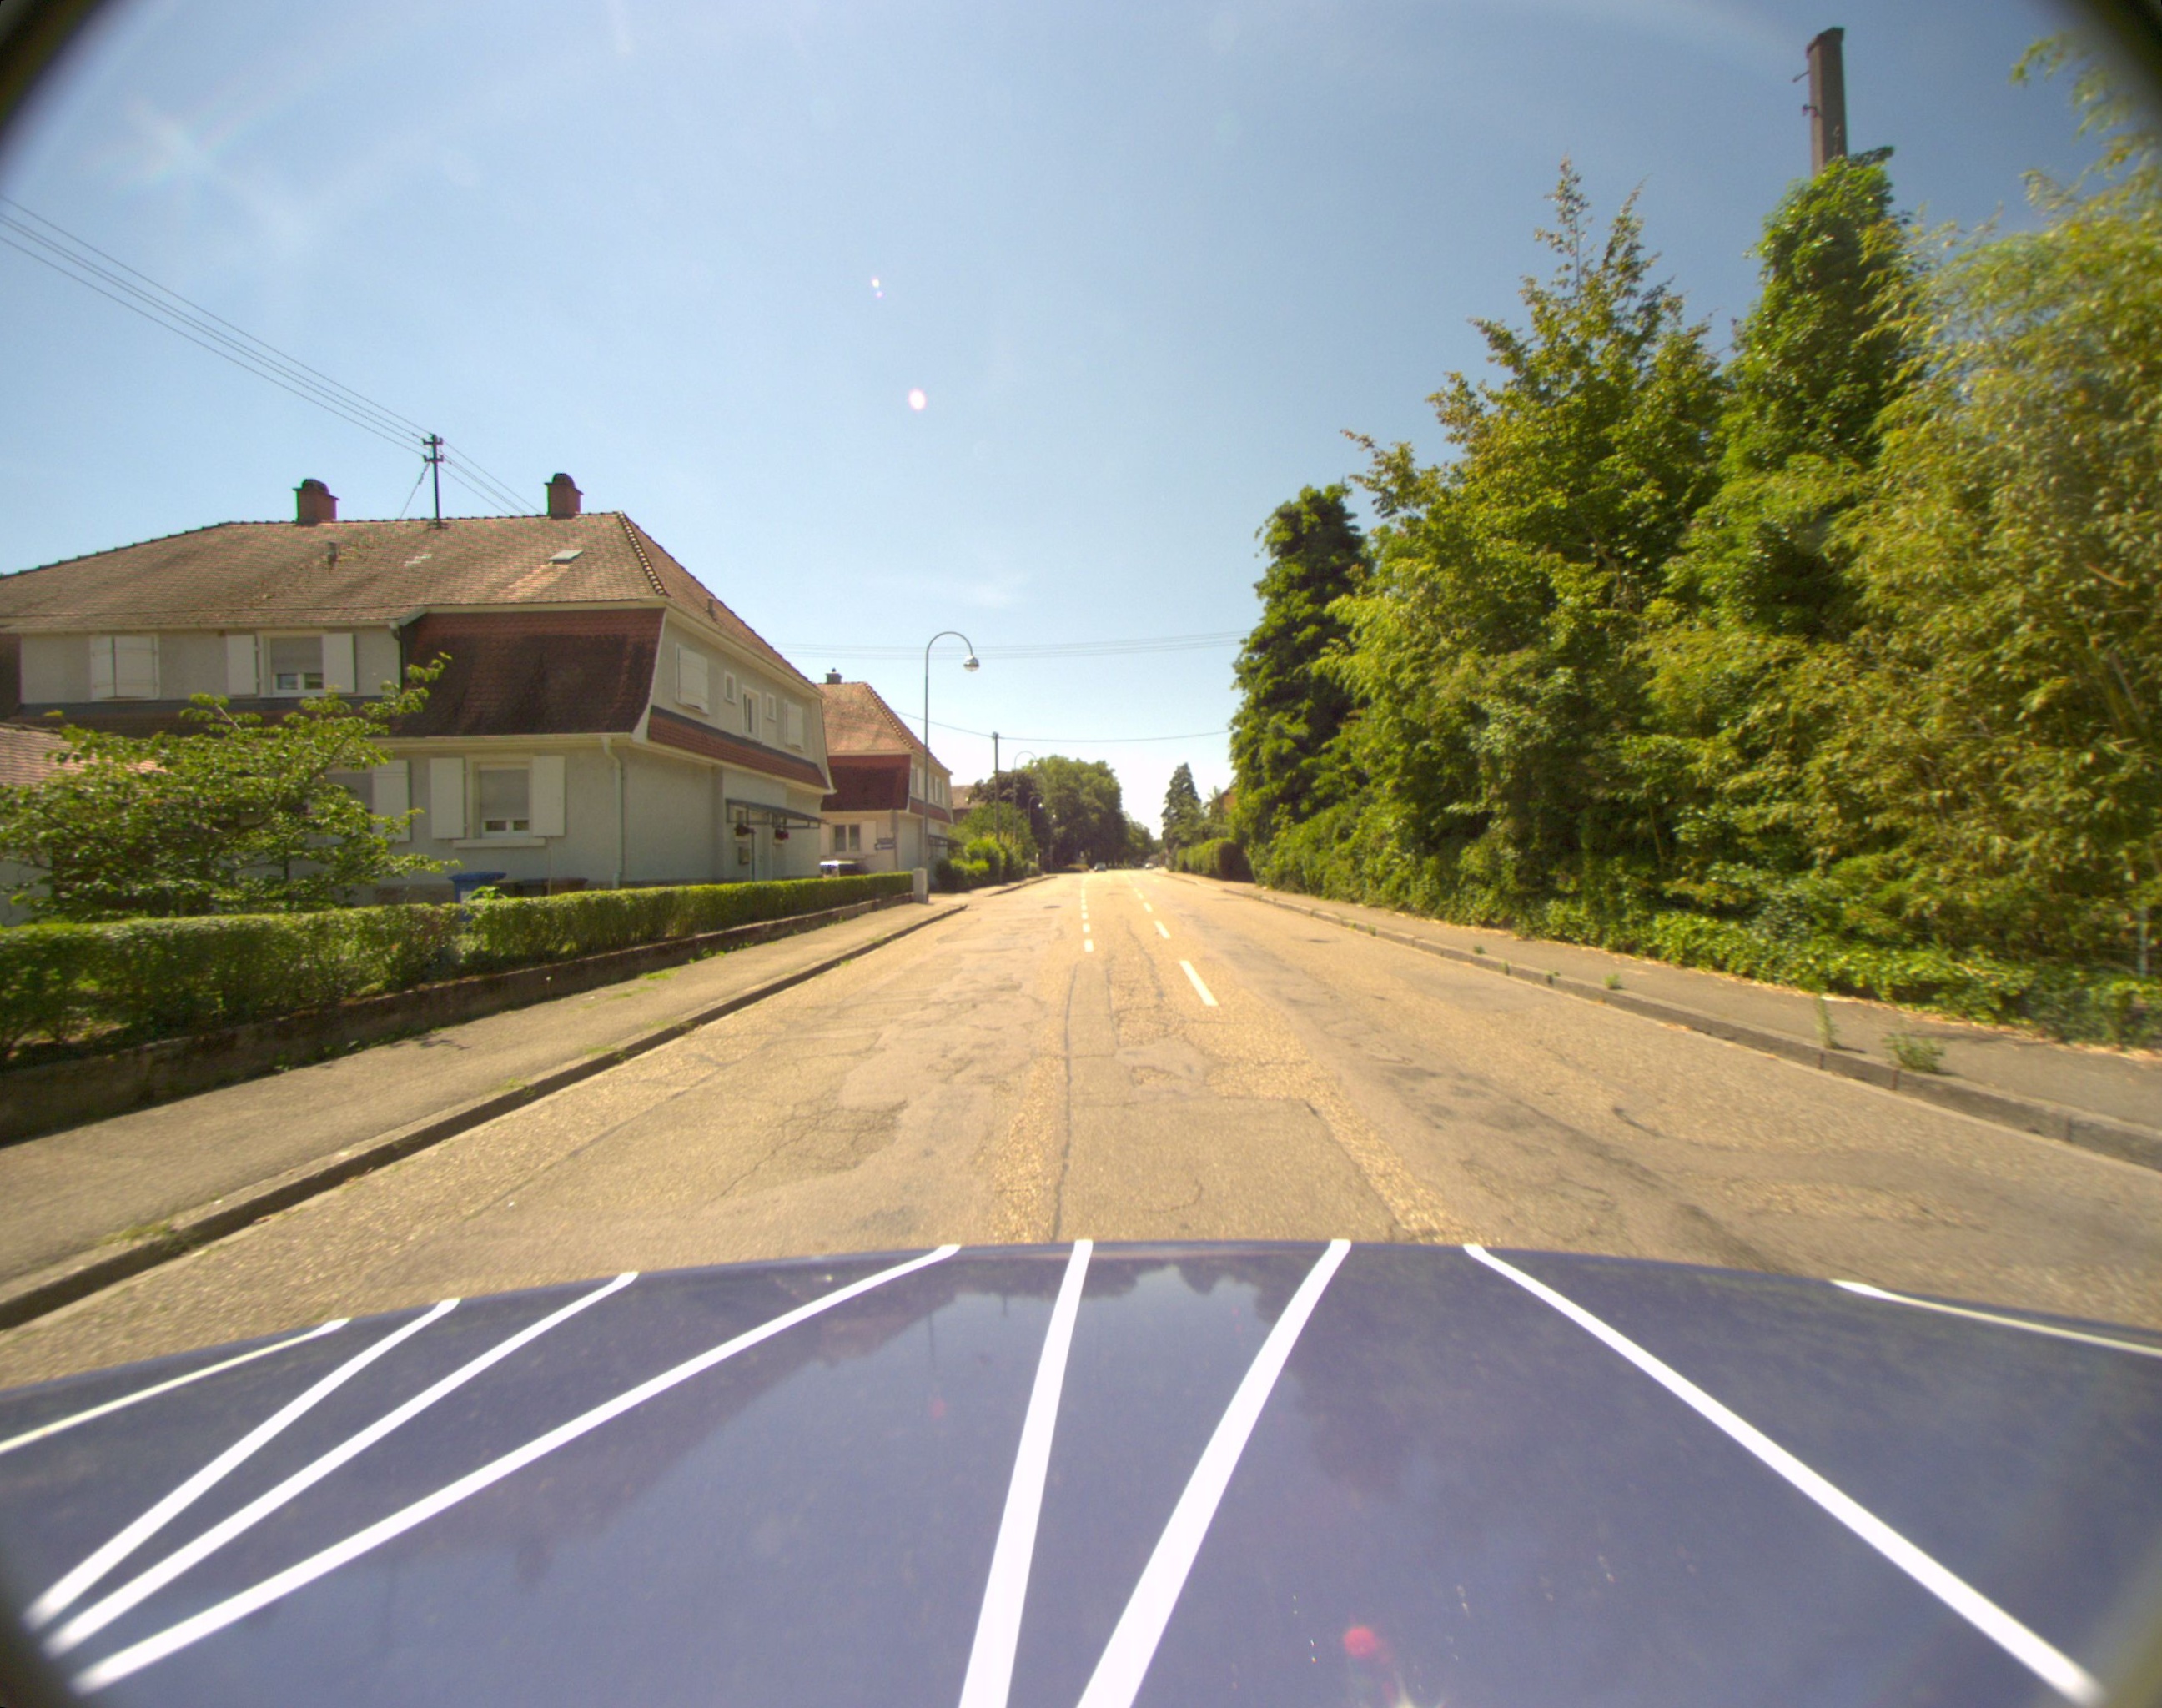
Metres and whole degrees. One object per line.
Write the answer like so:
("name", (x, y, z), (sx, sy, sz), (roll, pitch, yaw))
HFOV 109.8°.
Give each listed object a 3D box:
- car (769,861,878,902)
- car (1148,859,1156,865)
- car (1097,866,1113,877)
("car", (-10.941, 1.147, 32.461), (4.006, 1.527, 1.693), (-2, 1, 0))
("car", (16.306, 1.786, 173.719), (1.684, 1.364, 4.208), (0, -1, 3))
("car", (3.827, 2.742, 121.471), (1.882, 1.623, 4.324), (-1, 0, 10))
